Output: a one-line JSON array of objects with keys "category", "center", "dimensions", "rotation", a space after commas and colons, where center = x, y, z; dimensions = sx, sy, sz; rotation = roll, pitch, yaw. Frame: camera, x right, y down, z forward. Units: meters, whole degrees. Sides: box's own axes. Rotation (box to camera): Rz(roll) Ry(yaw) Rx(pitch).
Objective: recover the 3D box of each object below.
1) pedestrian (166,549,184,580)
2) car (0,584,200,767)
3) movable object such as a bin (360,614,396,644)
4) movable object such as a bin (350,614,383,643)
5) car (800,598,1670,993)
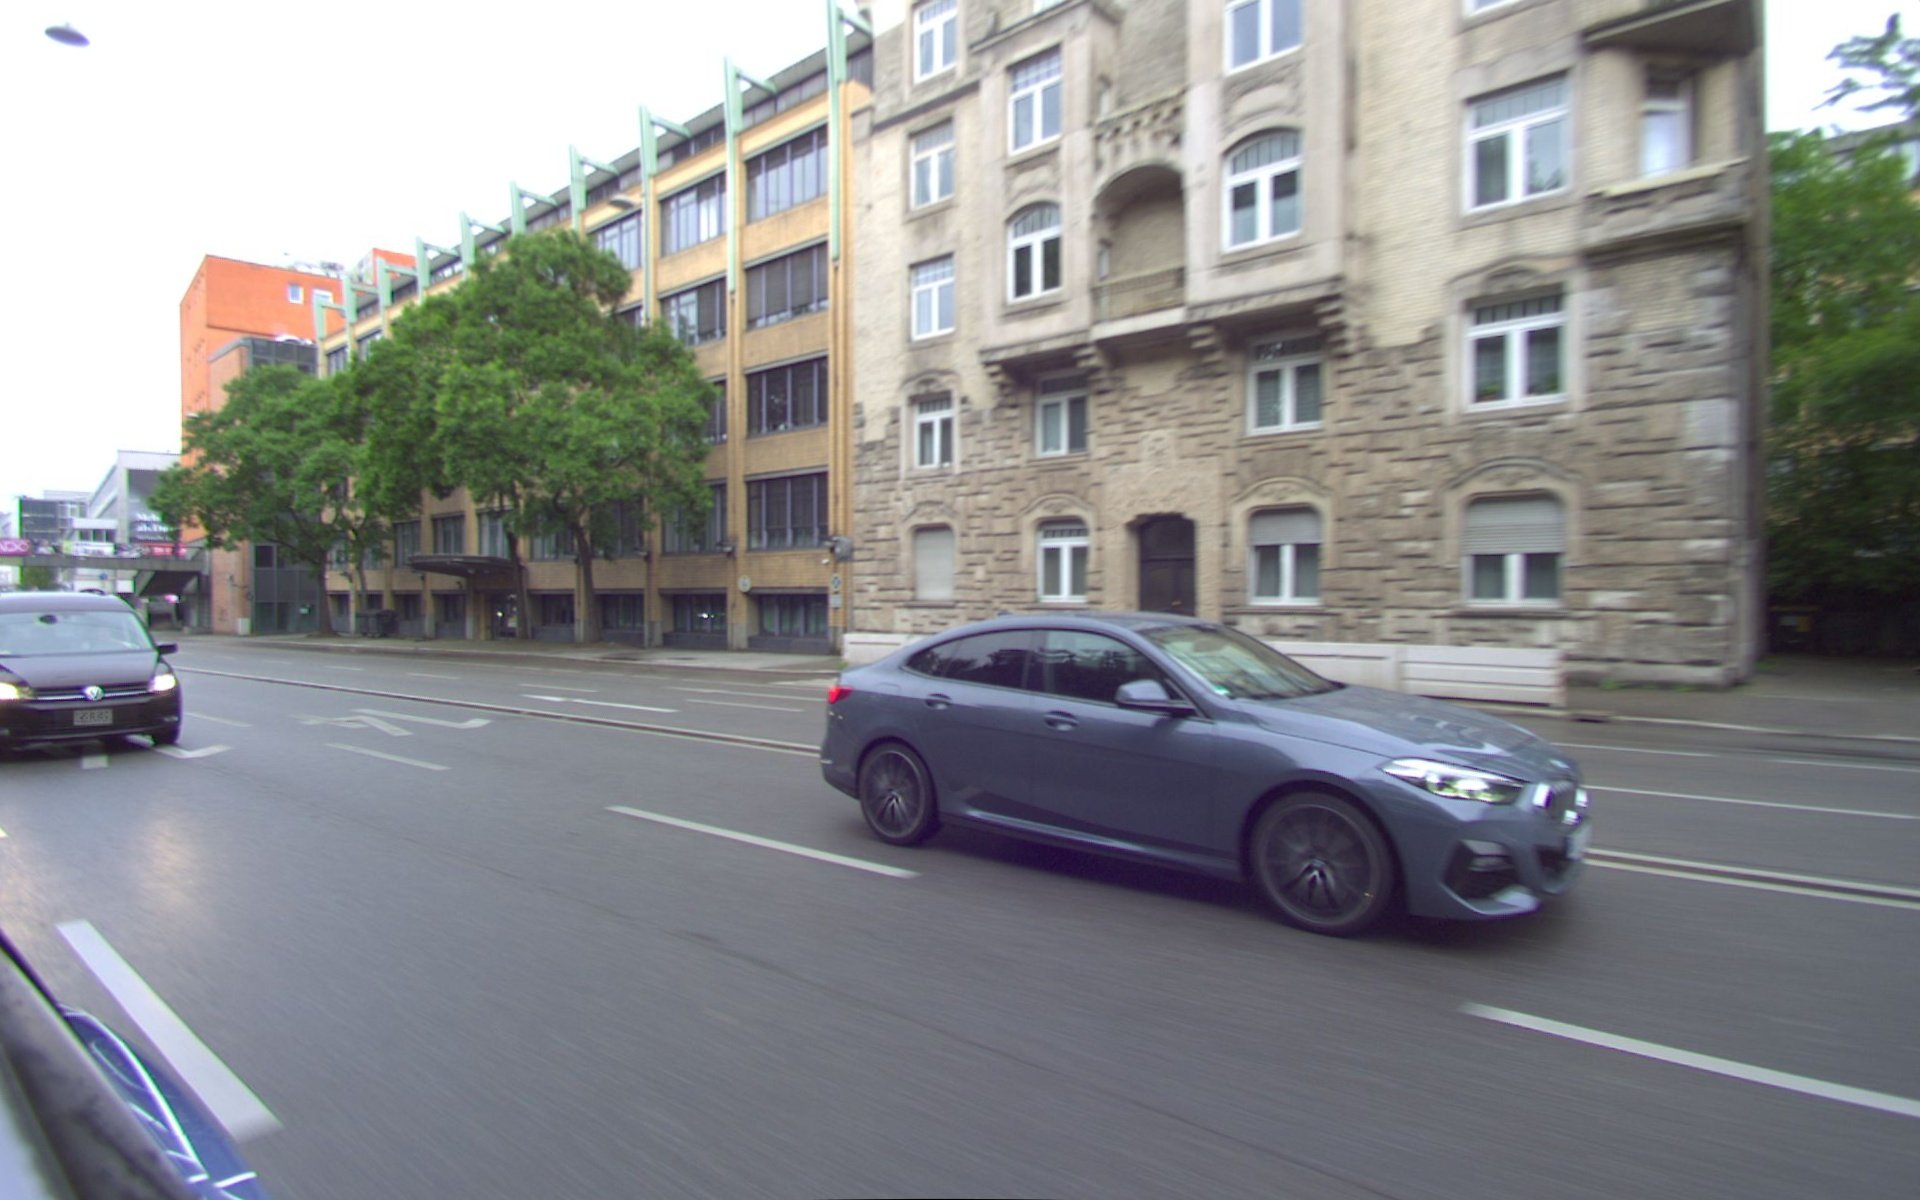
[{"category": "pedestrian", "center": [-57.842, -2.616, 74.586], "dimensions": [0.737, 2.272, 0.823], "rotation": [0, -1, 34]}, {"category": "car", "center": [-10.607, 0.795, 11.758], "dimensions": [3.993, 1.805, 1.820], "rotation": [-1, -2, 37]}, {"category": "movable object such as a bin", "center": [-29.383, 1.437, 51.112], "dimensions": [1.369, 1.447, 1.059], "rotation": [-2, 1, 36]}, {"category": "movable object such as a bin", "center": [-30.467, 1.471, 51.921], "dimensions": [1.311, 1.447, 0.964], "rotation": [-2, 1, 36]}, {"category": "car", "center": [1.203, 0.740, 5.780], "dimensions": [4.536, 1.426, 1.648], "rotation": [-1, -1, 41]}]
